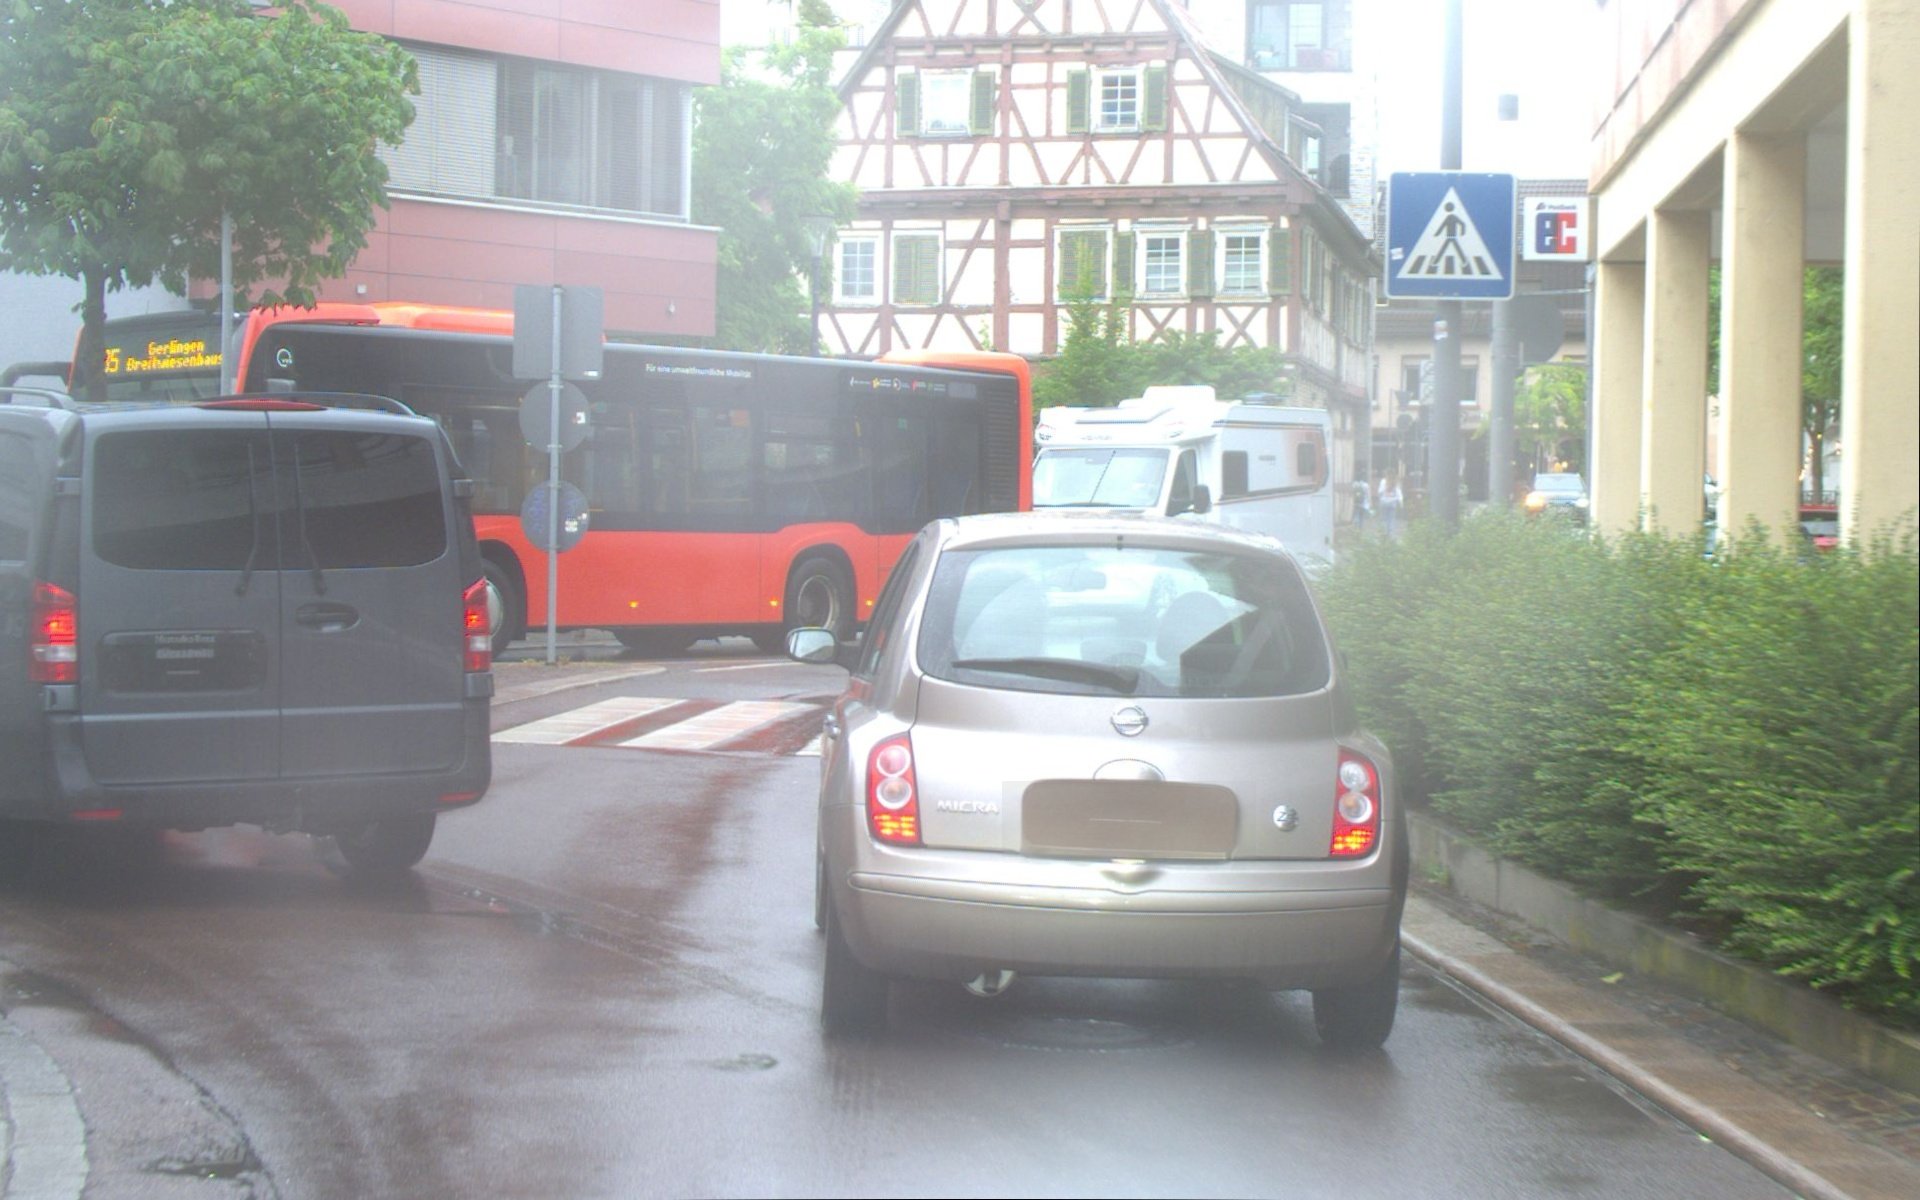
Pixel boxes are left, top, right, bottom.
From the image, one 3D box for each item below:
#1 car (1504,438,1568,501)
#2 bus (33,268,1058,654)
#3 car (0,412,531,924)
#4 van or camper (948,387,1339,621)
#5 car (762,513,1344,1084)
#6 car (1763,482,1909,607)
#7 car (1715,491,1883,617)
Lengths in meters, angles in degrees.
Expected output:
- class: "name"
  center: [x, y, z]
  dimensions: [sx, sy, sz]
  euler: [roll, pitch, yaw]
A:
- class: "car"
  center: [16.140, -3.647, 96.241]
  dimensions: [1.587, 1.706, 3.319]
  euler: [2, 2, 12]
- class: "bus"
  center: [-3.431, -1.246, 32.392]
  dimensions: [2.819, 3.078, 10.584]
  euler: [3, 3, 39]
- class: "car"
  center: [-3.710, 0.143, 14.425]
  dimensions: [1.946, 1.774, 4.727]
  euler: [0, 2, -32]
- class: "van or camper"
  center: [2.373, -1.153, 41.741]
  dimensions: [2.441, 2.576, 6.742]
  euler: [2, 2, 24]
- class: "car"
  center: [0.239, 0.484, 10.748]
  dimensions: [1.522, 1.465, 3.342]
  euler: [1, 2, 0]
- class: "car"
  center: [11.338, -0.744, 44.657]
  dimensions: [1.625, 1.495, 3.998]
  euler: [-2, 1, 12]
- class: "car"
  center: [9.725, -0.557, 39.718]
  dimensions: [1.538, 1.357, 3.370]
  euler: [2, 2, 19]
